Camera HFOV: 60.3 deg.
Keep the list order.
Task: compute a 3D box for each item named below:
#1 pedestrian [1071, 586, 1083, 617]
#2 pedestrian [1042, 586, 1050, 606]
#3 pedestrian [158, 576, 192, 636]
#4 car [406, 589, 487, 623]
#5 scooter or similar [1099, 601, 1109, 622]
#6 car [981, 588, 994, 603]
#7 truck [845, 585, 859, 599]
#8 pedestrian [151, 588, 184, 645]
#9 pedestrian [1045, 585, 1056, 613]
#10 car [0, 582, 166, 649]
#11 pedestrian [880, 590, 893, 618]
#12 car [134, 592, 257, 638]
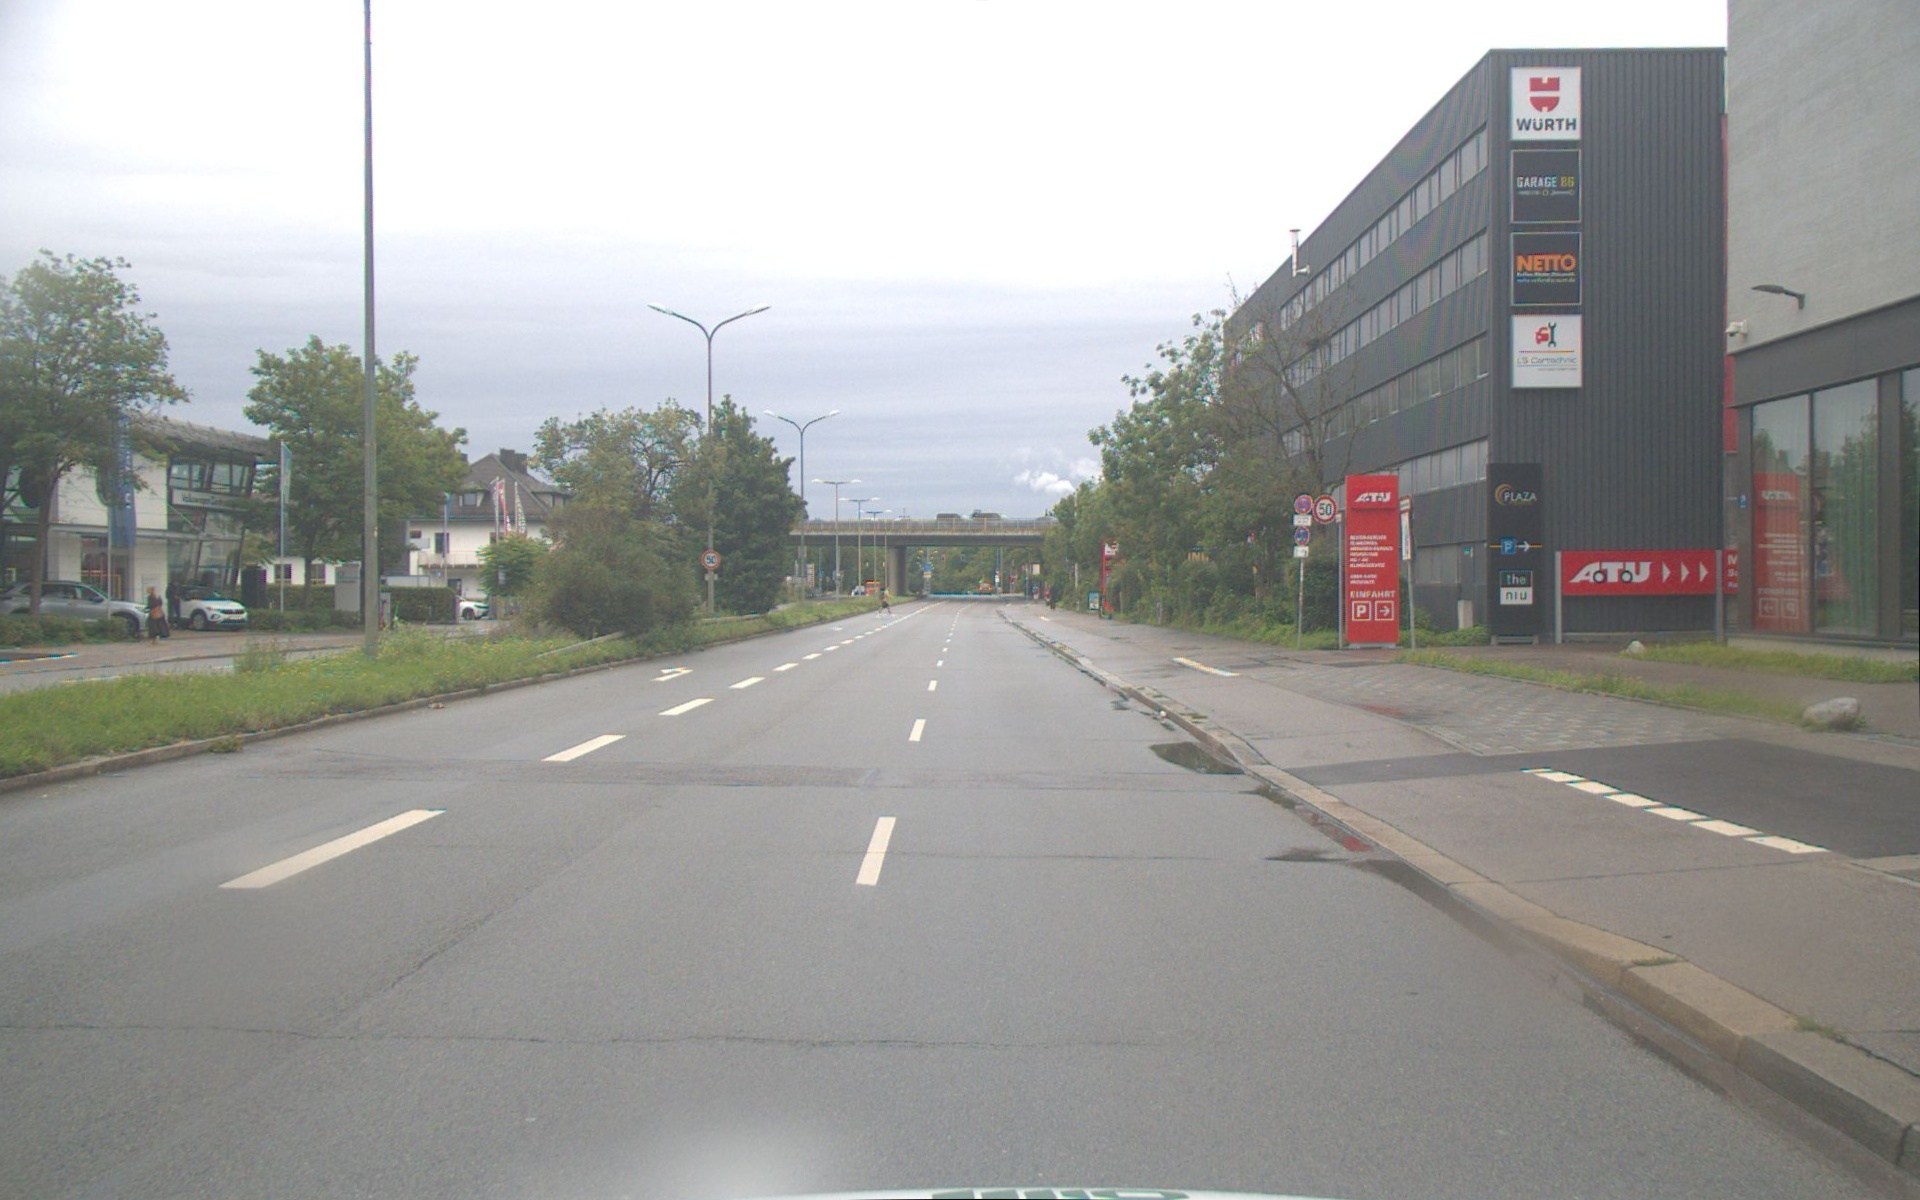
[{"bbox_3d":[7.487,0.097,106.065,0.675,1.909,0.662,-2,0,-1],"label":"pedestrian"},{"bbox_3d":[7.338,-0.323,141.169,0.675,1.645,0.662,-2,0,-1],"label":"pedestrian"},{"bbox_3d":[-27.409,0.210,57.737,0.699,2.049,0.880,-2,0,-1],"label":"pedestrian"},{"bbox_3d":[-28.273,0.304,91.205,4.069,1.738,1.844,-2,0,-12],"label":"car"},{"bbox_3d":[7.211,0.567,82.834,0.298,1.021,1.219,-2,0,-2],"label":"scooter or similar"},{"bbox_3d":[3.962,-0.684,240.348,1.774,2.049,3.834,1,0,2],"label":"car"},{"bbox_3d":[-16.470,-1.254,253.054,1.954,2.049,4.354,-2,0,-2],"label":"truck"},{"bbox_3d":[-23.306,0.477,48.630,0.623,1.638,0.621,-2,0,-1],"label":"pedestrian"},{"bbox_3d":[6.438,-0.073,118.044,0.675,1.909,0.662,-2,0,-1],"label":"pedestrian"},{"bbox_3d":[-27.149,0.473,51.073,4.569,1.874,1.788,-2,0,-23],"label":"car"},{"bbox_3d":[-4.311,0.235,97.291,0.646,1.645,0.691,-2,0,5],"label":"pedestrian"},{"bbox_3d":[-27.657,0.532,59.866,3.905,1.535,1.801,-2,0,21],"label":"car"}]
